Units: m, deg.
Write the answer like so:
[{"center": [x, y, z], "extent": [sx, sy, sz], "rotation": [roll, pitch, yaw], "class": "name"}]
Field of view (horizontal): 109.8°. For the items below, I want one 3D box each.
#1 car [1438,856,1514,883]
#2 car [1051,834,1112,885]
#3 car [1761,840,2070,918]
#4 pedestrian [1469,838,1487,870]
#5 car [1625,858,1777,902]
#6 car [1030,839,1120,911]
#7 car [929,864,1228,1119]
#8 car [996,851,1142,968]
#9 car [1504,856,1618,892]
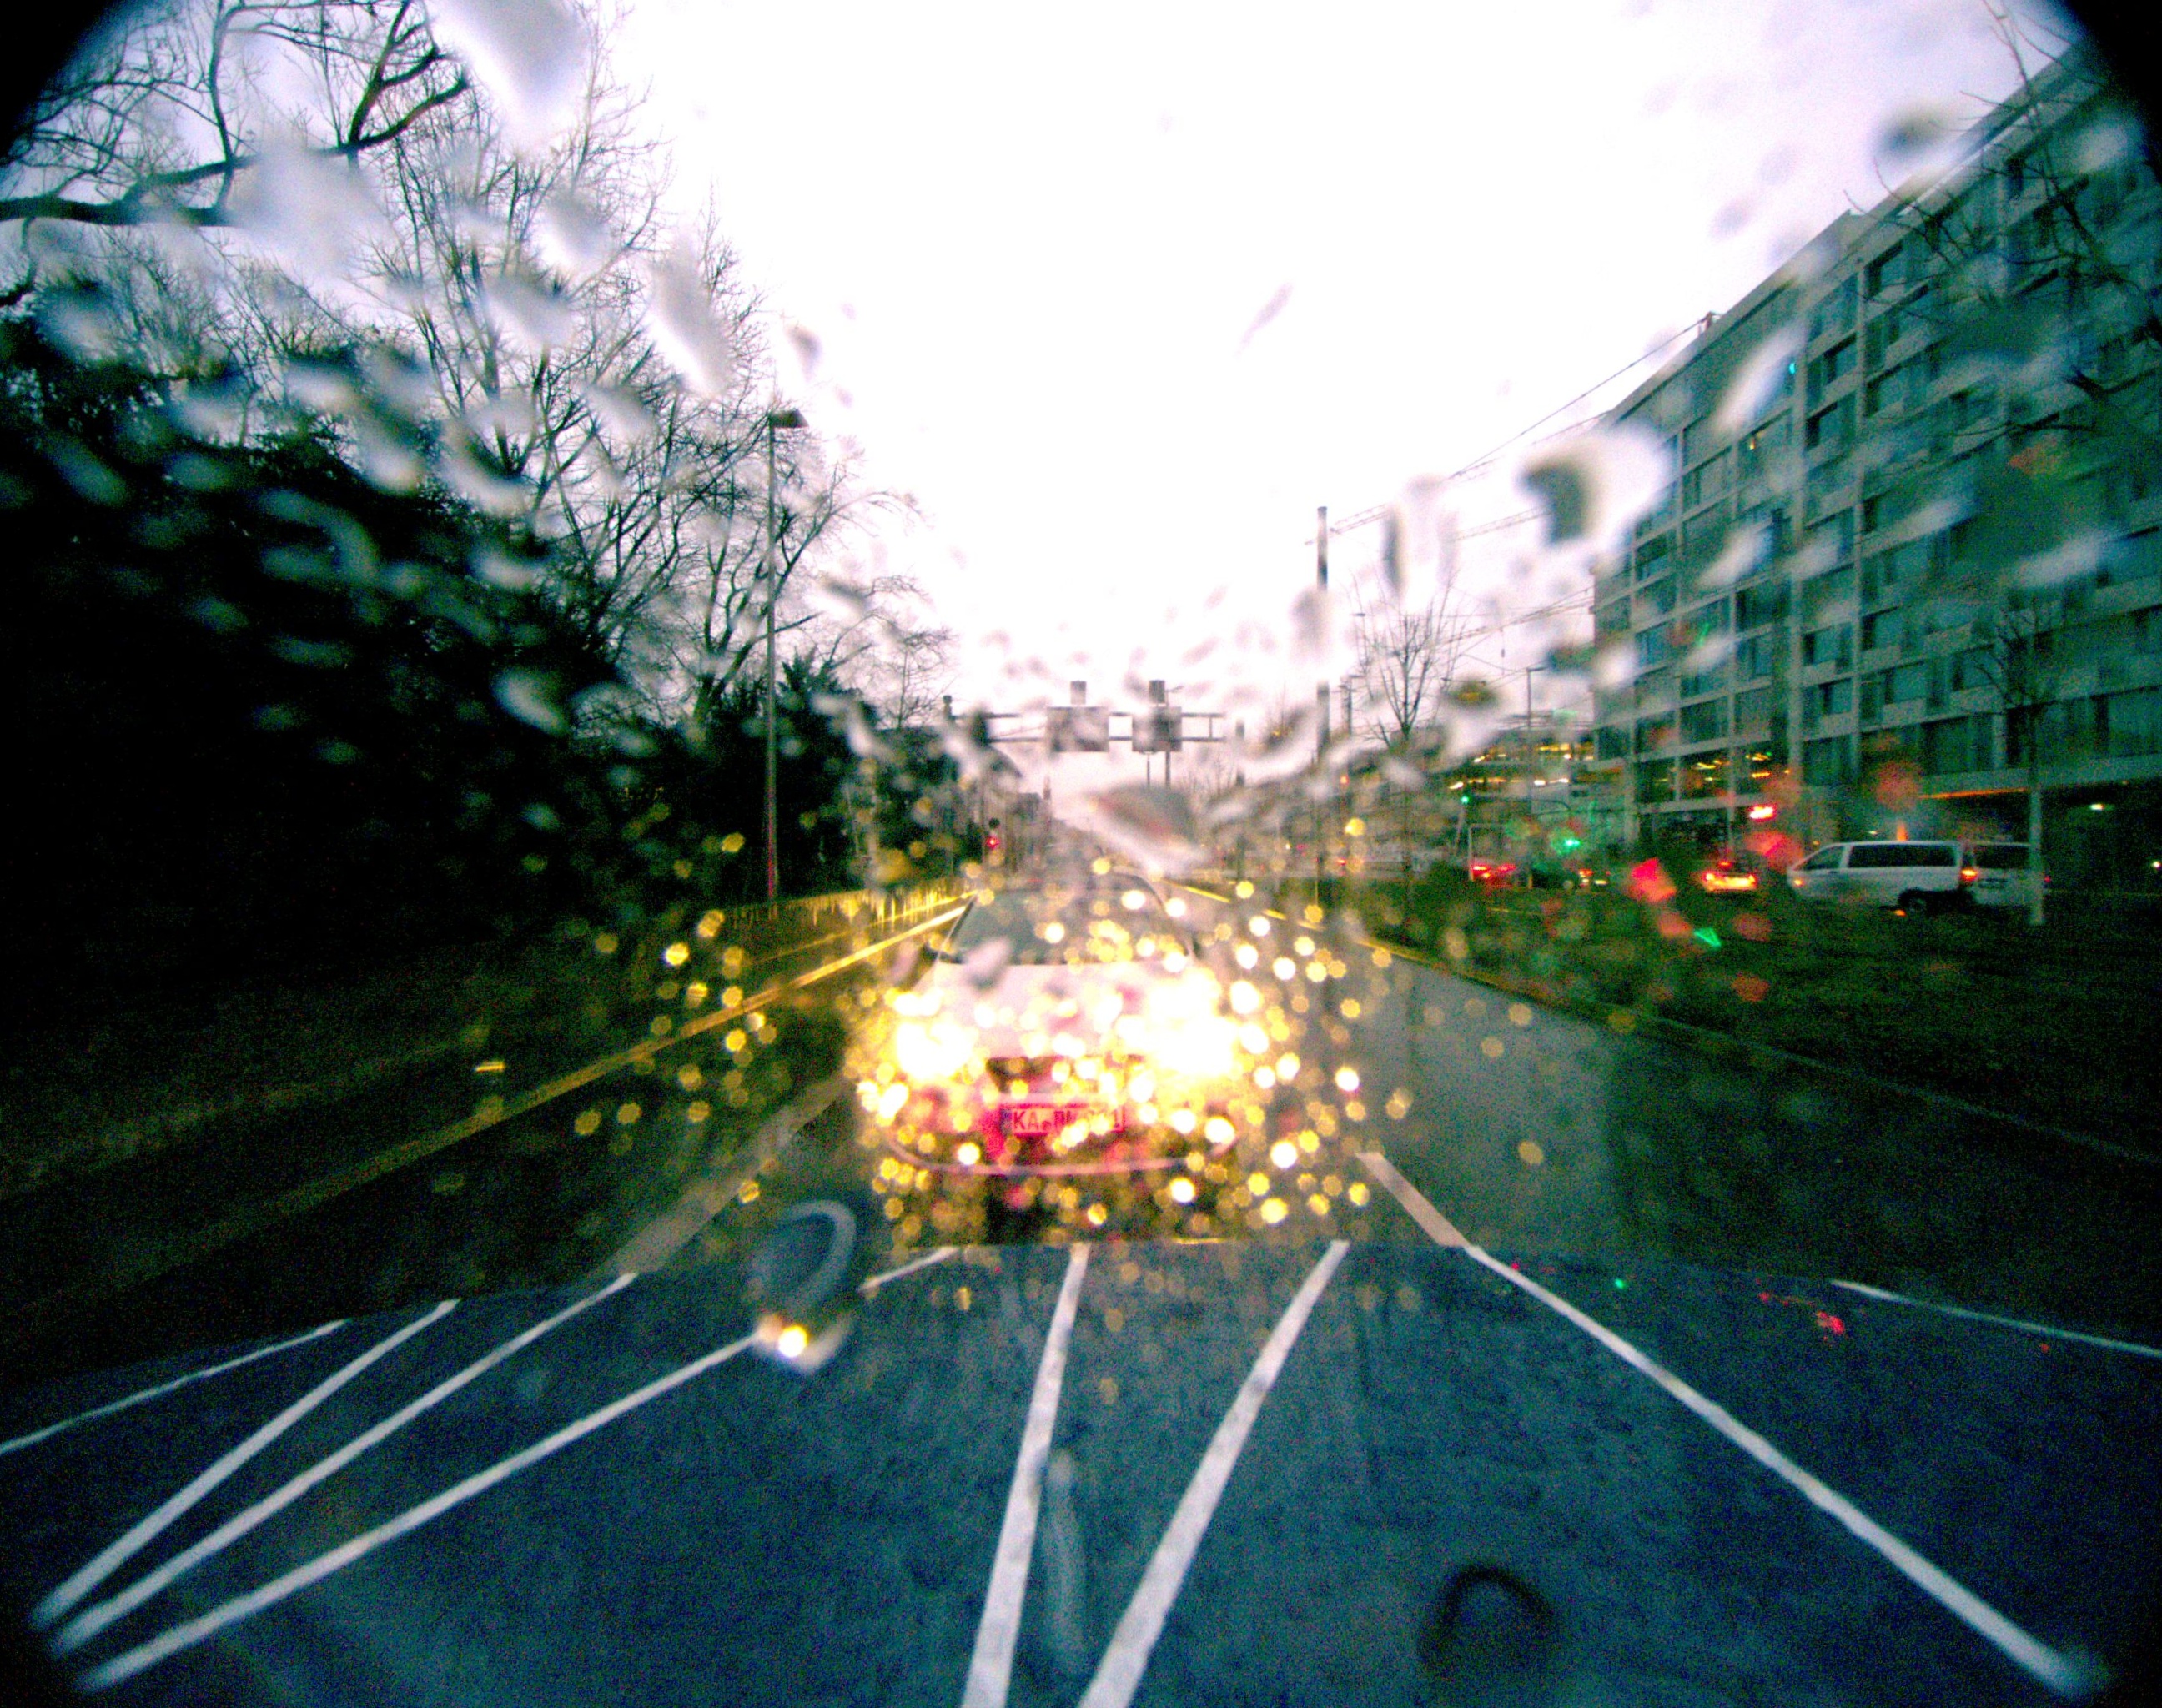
[{"center": [20.185, 0.755, 39.021], "extent": [1.816, 1.267, 3.999], "rotation": [0, 0, -1], "class": "car"}, {"center": [0.032, 0.166, 27.495], "extent": [1.998, 1.618, 4.268], "rotation": [-2, 0, 0], "class": "car"}, {"center": [20.009, 0.527, 18.681], "extent": [2.086, 1.659, 5.043], "rotation": [0, 0, 1], "class": "car"}, {"center": [22.235, 0.000, 42.585], "extent": [0.709, 1.794, 0.771], "rotation": [-2, 1, 15], "class": "pedestrian"}, {"center": [20.377, 0.817, 25.205], "extent": [1.816, 1.300, 4.000], "rotation": [0, 0, 1], "class": "car"}, {"center": [-0.107, 0.475, 20.043], "extent": [2.073, 1.618, 4.268], "rotation": [-2, 1, 1], "class": "car"}, {"center": [0.013, 0.898, 6.900], "extent": [1.886, 1.552, 4.171], "rotation": [0, 0, 1], "class": "car"}, {"center": [-0.220, 0.800, 13.262], "extent": [2.073, 1.618, 4.267], "rotation": [-2, 1, -1], "class": "car"}, {"center": [20.295, 0.812, 32.374], "extent": [2.111, 1.392, 4.257], "rotation": [0, 0, -1], "class": "car"}]
